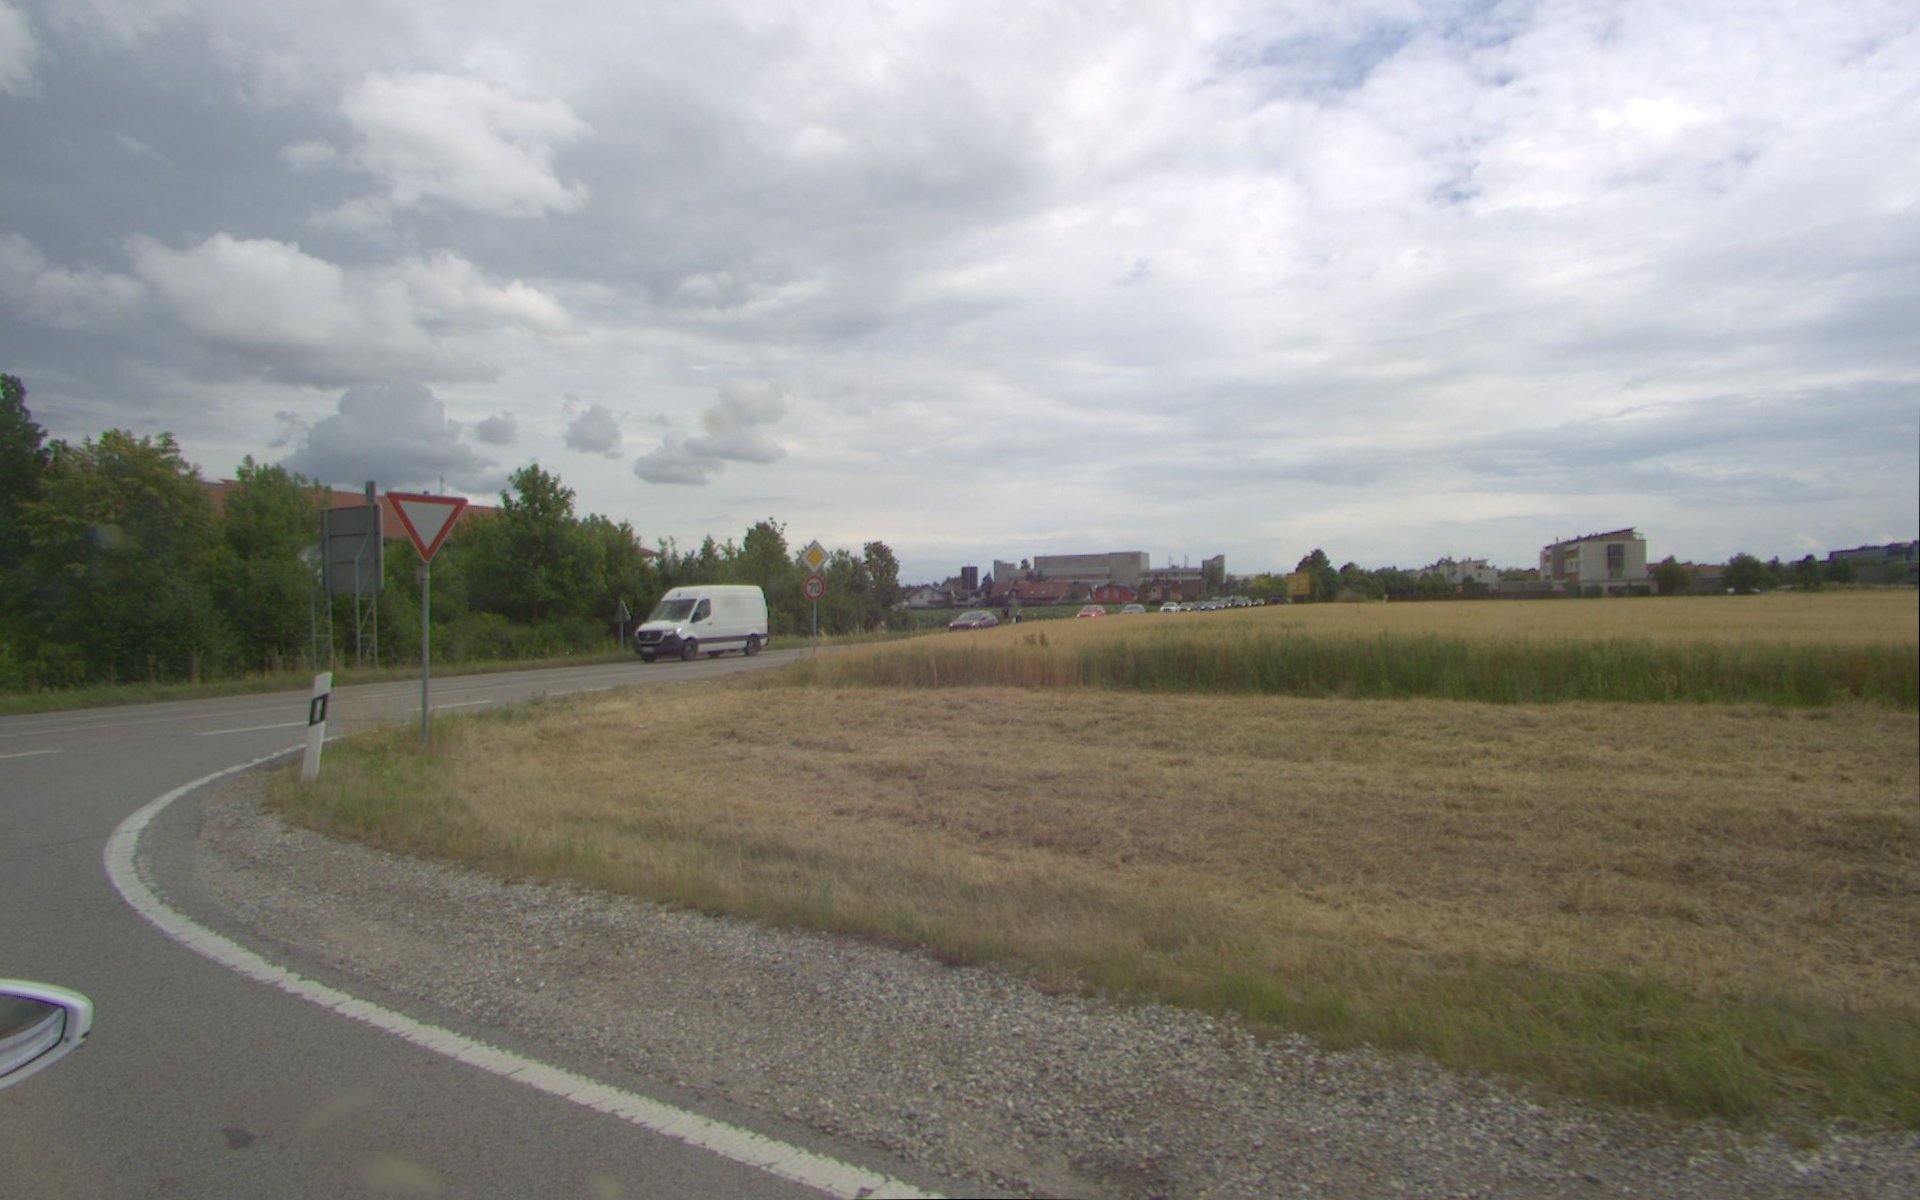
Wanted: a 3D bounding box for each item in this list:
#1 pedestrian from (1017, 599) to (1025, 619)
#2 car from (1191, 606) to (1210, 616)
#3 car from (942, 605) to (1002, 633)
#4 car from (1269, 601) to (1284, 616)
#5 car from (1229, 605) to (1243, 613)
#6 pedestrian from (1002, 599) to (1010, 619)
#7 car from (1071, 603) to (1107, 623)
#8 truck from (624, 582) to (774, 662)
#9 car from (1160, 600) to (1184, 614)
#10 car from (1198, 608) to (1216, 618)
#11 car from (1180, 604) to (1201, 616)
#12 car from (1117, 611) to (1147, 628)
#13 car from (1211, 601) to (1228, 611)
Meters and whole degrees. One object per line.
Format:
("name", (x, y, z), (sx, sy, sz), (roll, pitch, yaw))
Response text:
("pedestrian", (5.070, 0.749, 83.628), (0.521, 1.705, 0.626), (0, 2, 19))
("car", (30.609, 1.403, 127.526), (1.825, 1.287, 3.520), (-1, 0, 23))
("car", (0.731, 1.057, 57.761), (1.967, 1.483, 4.148), (-2, 0, 23))
("car", (57.404, 1.546, 181.612), (2.114, 2.675, 5.552), (0, 1, 24))
("car", (44.309, 1.416, 160.648), (1.825, 1.287, 3.520), (-1, 0, 23))
("pedestrian", (3.875, 0.774, 84.103), (0.521, 1.705, 0.626), (0, 2, 19))
("car", (10.407, 1.012, 80.647), (1.825, 1.486, 3.987), (-1, 0, 24))
("truck", (-9.243, 0.745, 36.158), (1.967, 2.609, 6.000), (-2, -1, 22))
("car", (23.212, 0.725, 109.499), (1.825, 1.486, 3.989), (-1, 0, 23))
("car", (33.214, 1.698, 134.470), (1.825, 1.287, 3.520), (-1, 0, 23))
("car", (27.395, 1.152, 118.838), (1.825, 1.287, 3.520), (-1, 0, 23))
("car", (15.667, 1.752, 91.193), (1.825, 1.486, 3.987), (-1, 0, 24))
("car", (37.024, 0.869, 142.884), (1.825, 1.287, 3.520), (-1, 0, 23))
